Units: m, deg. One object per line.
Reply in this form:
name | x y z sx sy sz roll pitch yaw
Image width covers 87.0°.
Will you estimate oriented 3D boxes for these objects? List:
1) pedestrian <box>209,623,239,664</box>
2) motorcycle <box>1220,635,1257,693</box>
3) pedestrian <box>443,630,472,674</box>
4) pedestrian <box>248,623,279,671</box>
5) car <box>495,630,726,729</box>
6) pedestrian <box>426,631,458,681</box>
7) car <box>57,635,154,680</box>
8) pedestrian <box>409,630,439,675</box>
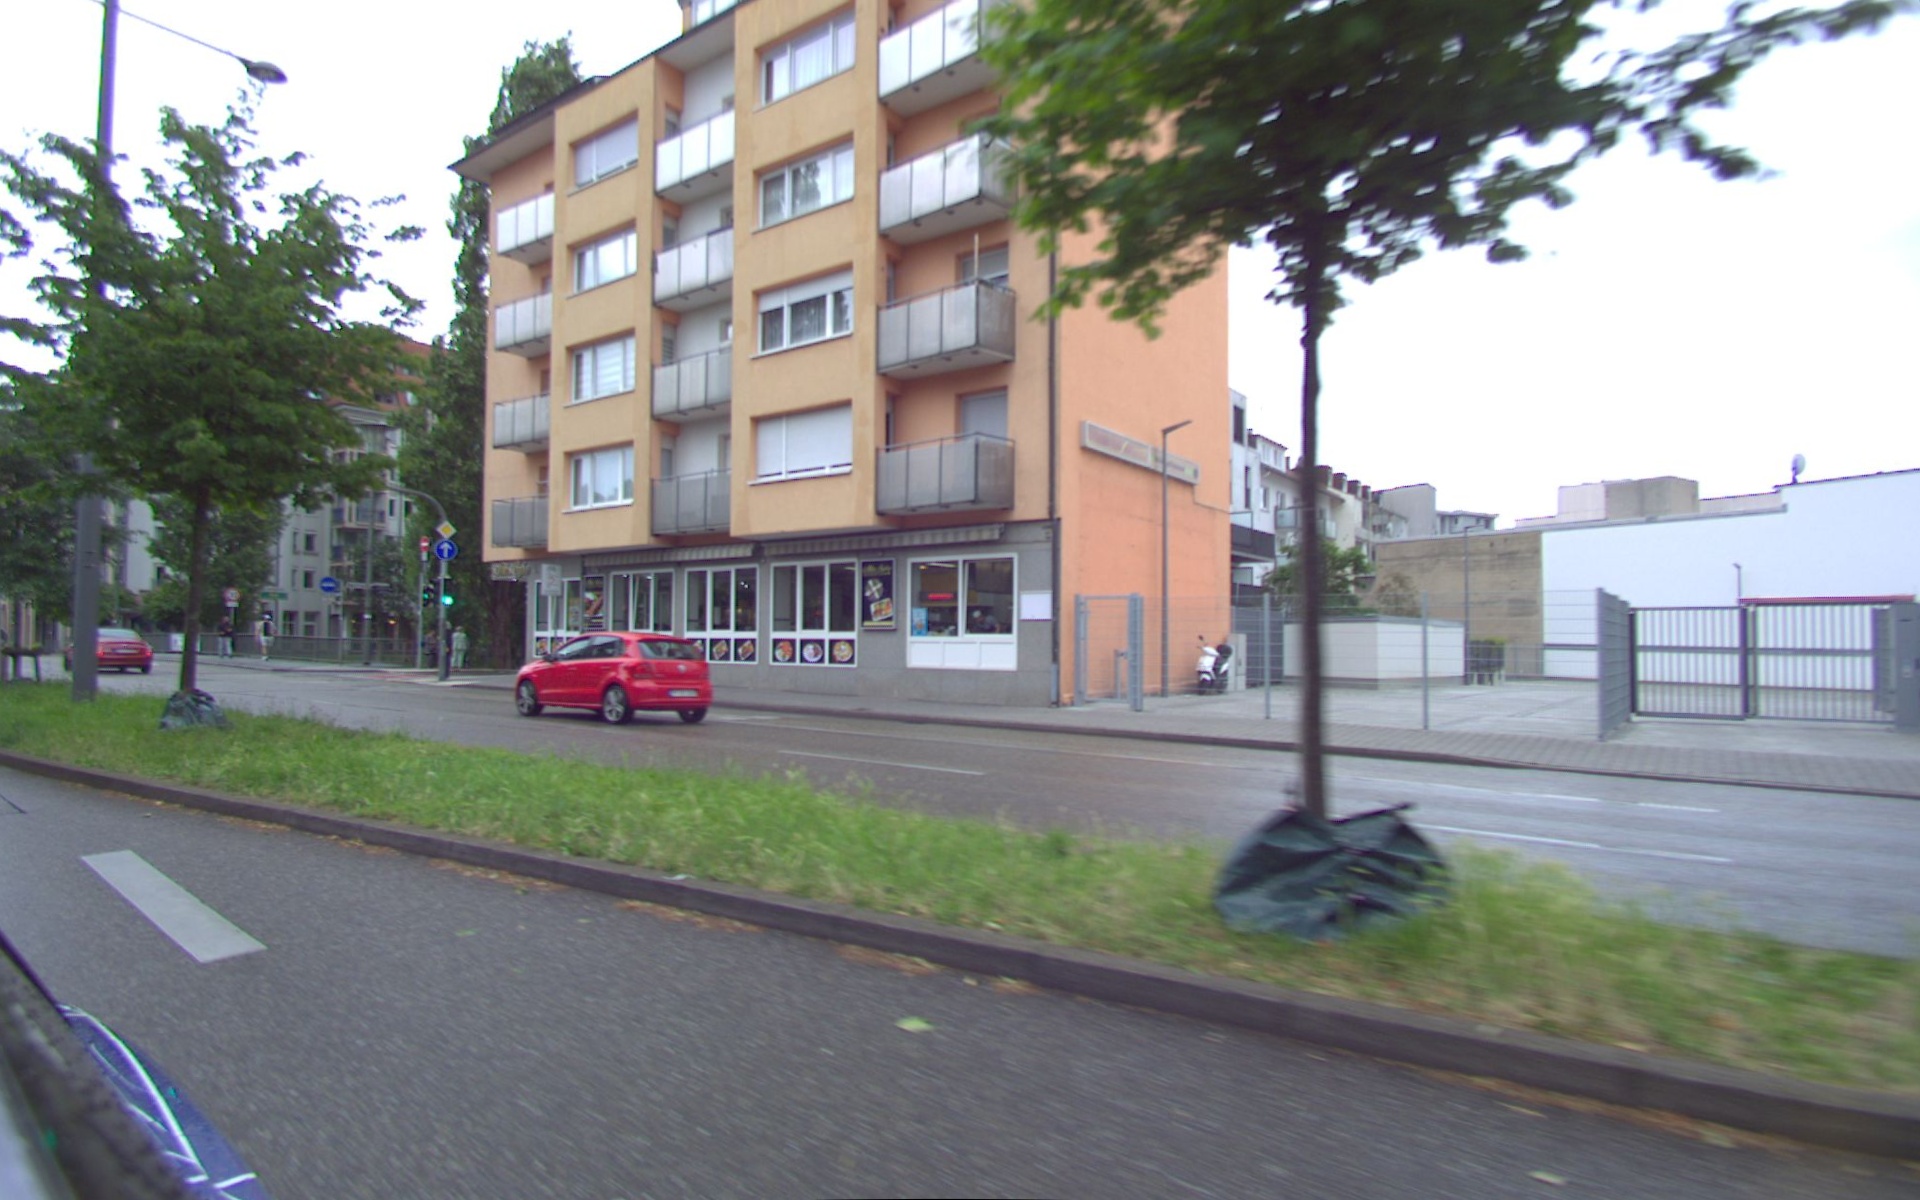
pedestrian | -31.302 1.840 43.038 0.798 1.708 0.758 -1 -3 35
motorcycle | 7.218 1.668 26.193 0.396 1.473 1.449 -1 -5 38
pedestrian | -19.203 1.986 38.672 0.736 1.661 0.683 0 -3 1
pedestrian | -28.136 1.909 40.886 0.798 1.901 0.738 -2 -3 35
car | -5.826 1.272 16.725 3.937 1.441 1.589 -1 -5 36
pedestrian | -15.602 1.684 30.510 0.604 1.452 0.557 -2 0 18
car | -27.945 1.863 33.086 3.828 1.404 1.552 -1 -5 37
pedestrian | -20.353 1.984 38.457 0.675 1.704 0.745 0 -3 6
